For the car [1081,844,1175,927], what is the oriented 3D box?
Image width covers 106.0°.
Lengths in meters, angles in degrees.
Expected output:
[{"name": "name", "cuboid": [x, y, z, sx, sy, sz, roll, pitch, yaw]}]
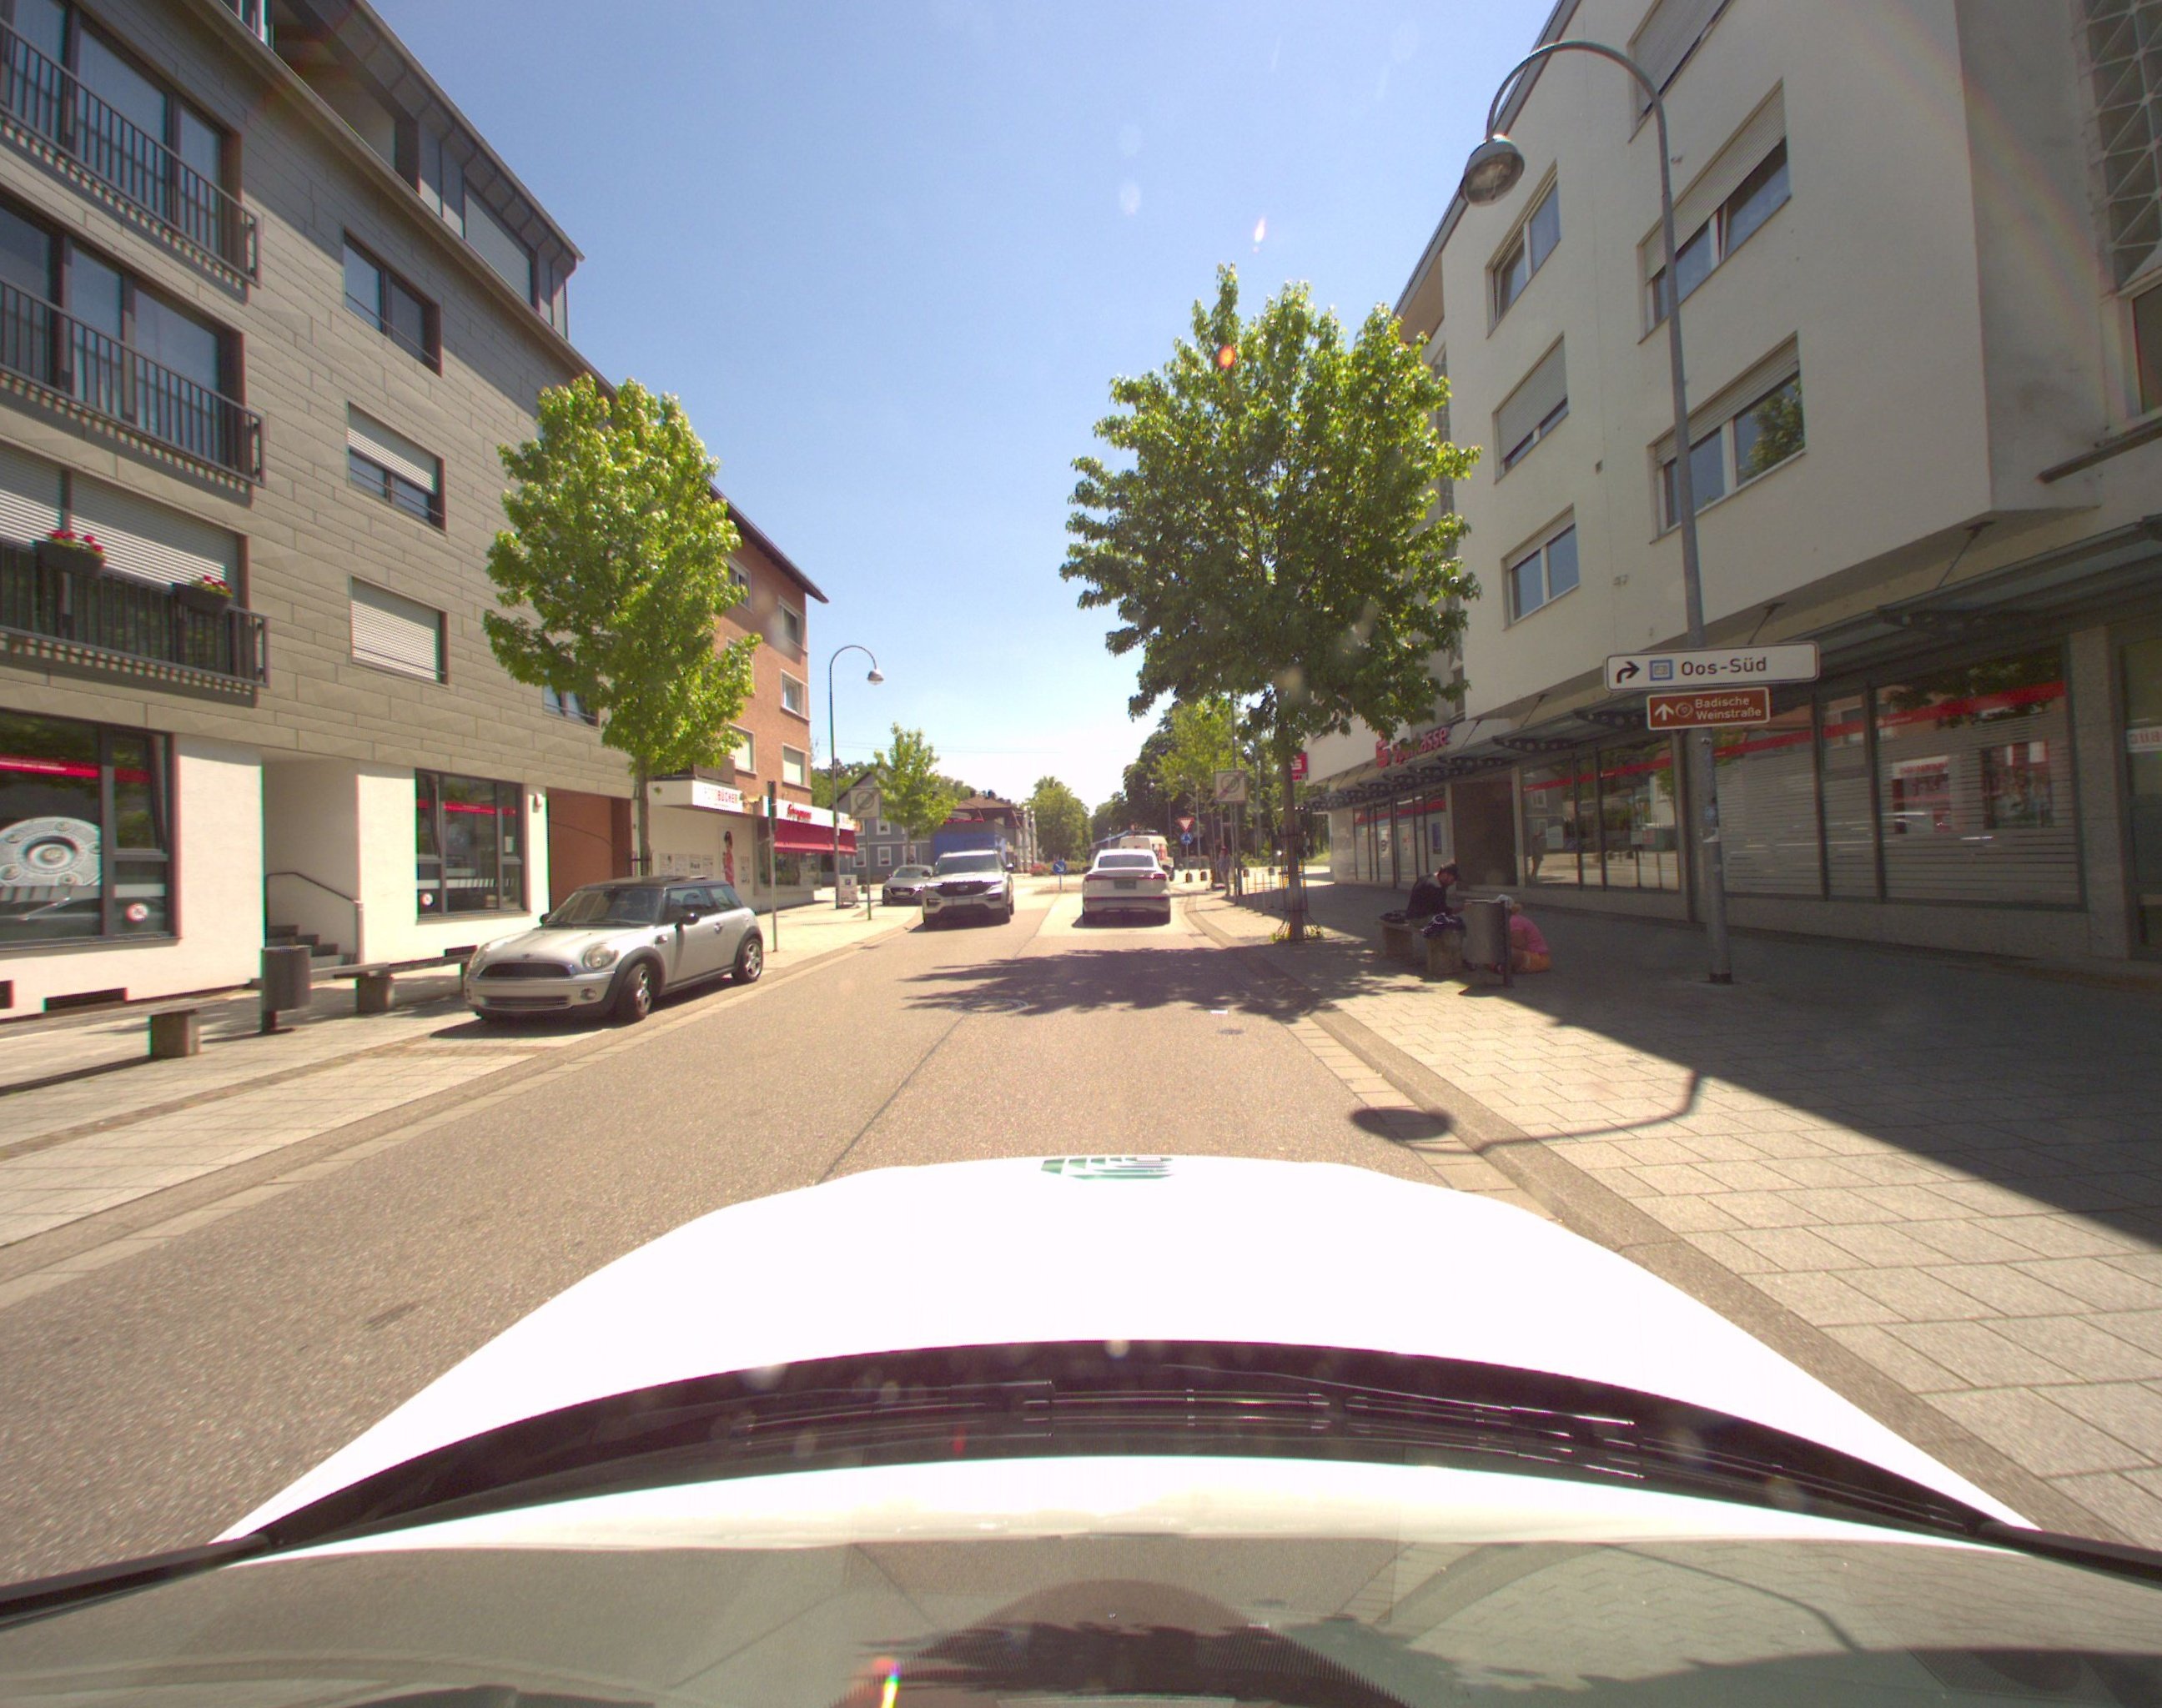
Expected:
[{"name": "car", "cuboid": [1.050, 0.651, 18.858, 1.891, 1.662, 4.412, -1, 0, 2]}]

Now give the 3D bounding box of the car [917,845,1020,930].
[{"name": "car", "cuboid": [-2.658, 0.753, 20.344, 1.895, 1.754, 4.754, -4, 0, -1]}]

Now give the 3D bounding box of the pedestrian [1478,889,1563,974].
[{"name": "pedestrian", "cuboid": [4.750, 0.829, 8.836, 0.672, 0.852, 0.540, -4, -1, 16]}]

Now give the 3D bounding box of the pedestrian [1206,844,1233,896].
[{"name": "pedestrian", "cuboid": [4.460, 0.512, 26.207, 0.729, 1.610, 0.560, -3, -1, 3]}]

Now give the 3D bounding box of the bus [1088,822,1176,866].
[{"name": "bus", "cuboid": [3.870, -0.630, 69.658, 3.705, 3.171, 18.010, 0, -1, -9]}]

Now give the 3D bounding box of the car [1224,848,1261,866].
[{"name": "car", "cuboid": [15.344, 0.292, 77.375, 3.051, 1.552, 1.627, -3, 0, -12]}]

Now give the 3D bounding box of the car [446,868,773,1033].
[{"name": "car", "cuboid": [-5.172, 0.951, 9.535, 1.615, 1.473, 3.550, -2, 0, 2]}]

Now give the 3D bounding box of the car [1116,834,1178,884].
[{"name": "car", "cuboid": [3.719, 0.248, 44.559, 1.977, 2.481, 5.511, -2, 0, 19]}]

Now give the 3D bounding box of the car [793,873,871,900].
[{"name": "car", "cuboid": [-15.844, 2.070, 51.960, 4.414, 1.457, 1.766, -3, 0, -3]}]

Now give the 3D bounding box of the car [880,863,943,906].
[{"name": "car", "cuboid": [-6.382, 1.115, 31.030, 1.662, 1.486, 4.058, 0, 0, -2]}]

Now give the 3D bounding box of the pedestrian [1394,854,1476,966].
[{"name": "pedestrian", "cuboid": [4.105, 0.644, 9.493, 0.754, 1.240, 0.540, -3, -1, 16]}]
